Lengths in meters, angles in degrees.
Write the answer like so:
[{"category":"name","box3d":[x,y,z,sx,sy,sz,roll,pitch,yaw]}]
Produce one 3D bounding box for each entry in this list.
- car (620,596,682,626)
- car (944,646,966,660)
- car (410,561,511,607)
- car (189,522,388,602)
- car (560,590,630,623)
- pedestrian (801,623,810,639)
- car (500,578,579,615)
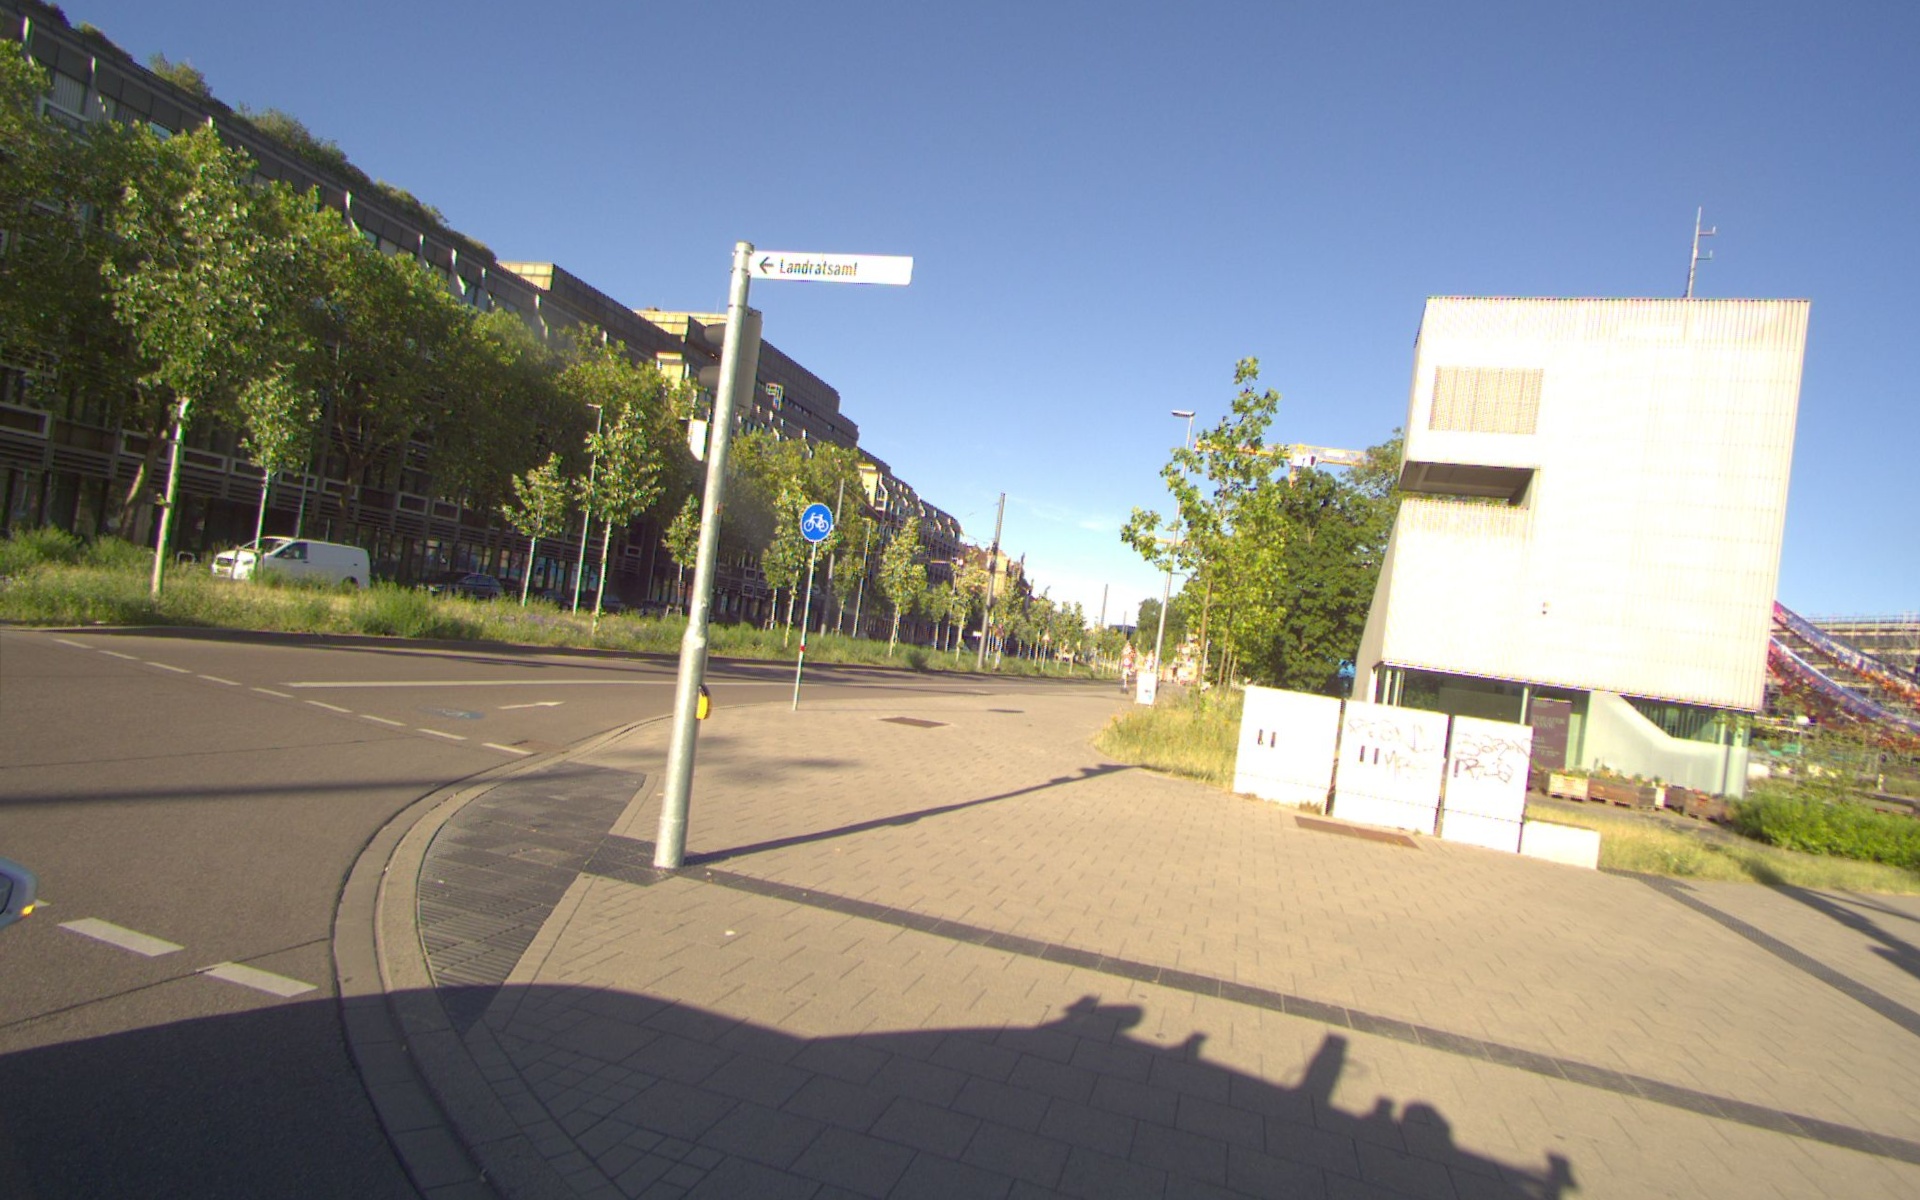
[{"category":"car","box3d":[-21.800,0.788,71.149,1.881,1.651,4.367,5,-3,19]},{"category":"car","box3d":[-0.641,7.193,136.249,1.873,1.593,4.307,7,-2,15]},{"category":"car","box3d":[-26.667,-0.815,53.918,1.962,1.698,4.876,9,-2,14]},{"category":"car","box3d":[-24.016,-1.278,36.331,2.223,2.036,5.717,5,-3,17]},{"category":"car","box3d":[-23.434,0.459,64.730,1.716,1.574,4.630,9,-2,15]},{"category":"pedestrian","box3d":[-15.395,3.093,100.380,0.655,1.550,0.648,8,-1,-14]},{"category":"car","box3d":[-24.857,-0.171,59.596,1.963,1.538,4.004,8,-2,20]}]
